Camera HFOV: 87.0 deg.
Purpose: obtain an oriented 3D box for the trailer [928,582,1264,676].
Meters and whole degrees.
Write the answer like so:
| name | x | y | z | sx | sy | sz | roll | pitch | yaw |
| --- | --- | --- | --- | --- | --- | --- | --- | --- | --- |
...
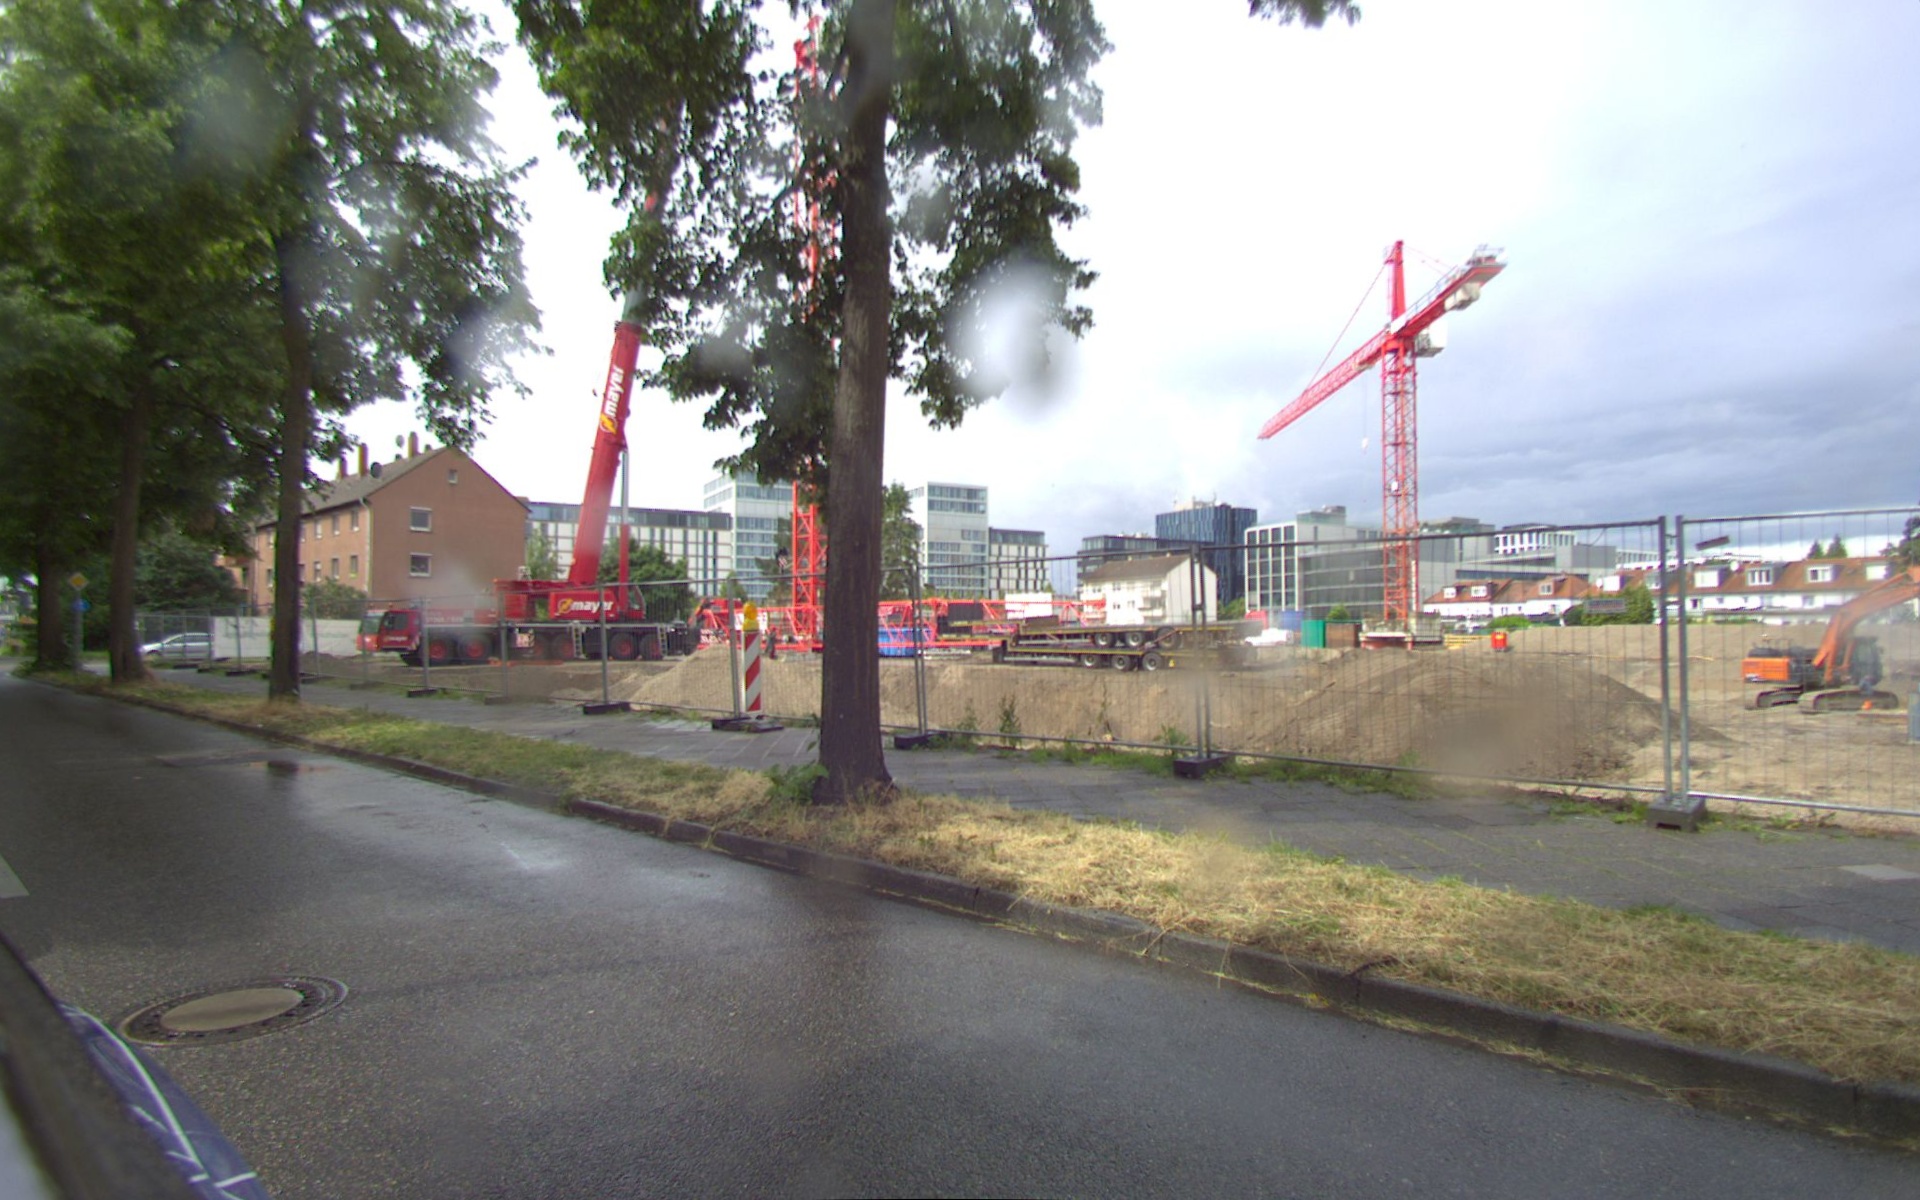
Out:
| name | x | y | z | sx | sy | sz | roll | pitch | yaw |
| --- | --- | --- | --- | --- | --- | --- | --- | --- | --- |
| trailer | 4.993 | 1.115 | 41.454 | 14.302 | 3.257 | 2.930 | -1 | 1 | 41 |

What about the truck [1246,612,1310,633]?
| name | x | y | z | sx | sy | sz | roll | pitch | yaw |
| --- | --- | --- | --- | --- | --- | --- | --- | --- | --- |
| truck | 33.614 | 2.412 | 107.019 | 6.292 | 2.095 | 1.884 | -1 | 0 | 25 |

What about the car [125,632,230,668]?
| name | x | y | z | sx | sy | sz | roll | pitch | yaw |
| --- | --- | --- | --- | --- | --- | --- | --- | --- | --- |
| car | -38.032 | 2.420 | 49.274 | 3.806 | 1.564 | 1.703 | -1 | 0 | -28 |

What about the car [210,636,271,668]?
| name | x | y | z | sx | sy | sz | roll | pitch | yaw |
| --- | --- | --- | --- | --- | --- | --- | --- | --- | --- |
| car | -38.197 | 2.717 | 53.695 | 3.996 | 1.541 | 1.672 | -1 | 0 | 39 |

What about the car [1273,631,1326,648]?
| name | x | y | z | sx | sy | sz | roll | pitch | yaw |
| --- | --- | --- | --- | --- | --- | --- | --- | --- | --- |
| car | 33.598 | 3.921 | 100.256 | 4.582 | 1.529 | 1.797 | -1 | 0 | 44 |

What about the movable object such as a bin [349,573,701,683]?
| name | x | y | z | sx | sy | sz | roll | pitch | yaw |
| --- | --- | --- | --- | --- | --- | --- | --- | --- | --- |
| movable object such as a bin | -20.285 | 1.117 | 49.049 | 3.102 | 4.592 | 15.727 | -1 | 0 | 44 |
